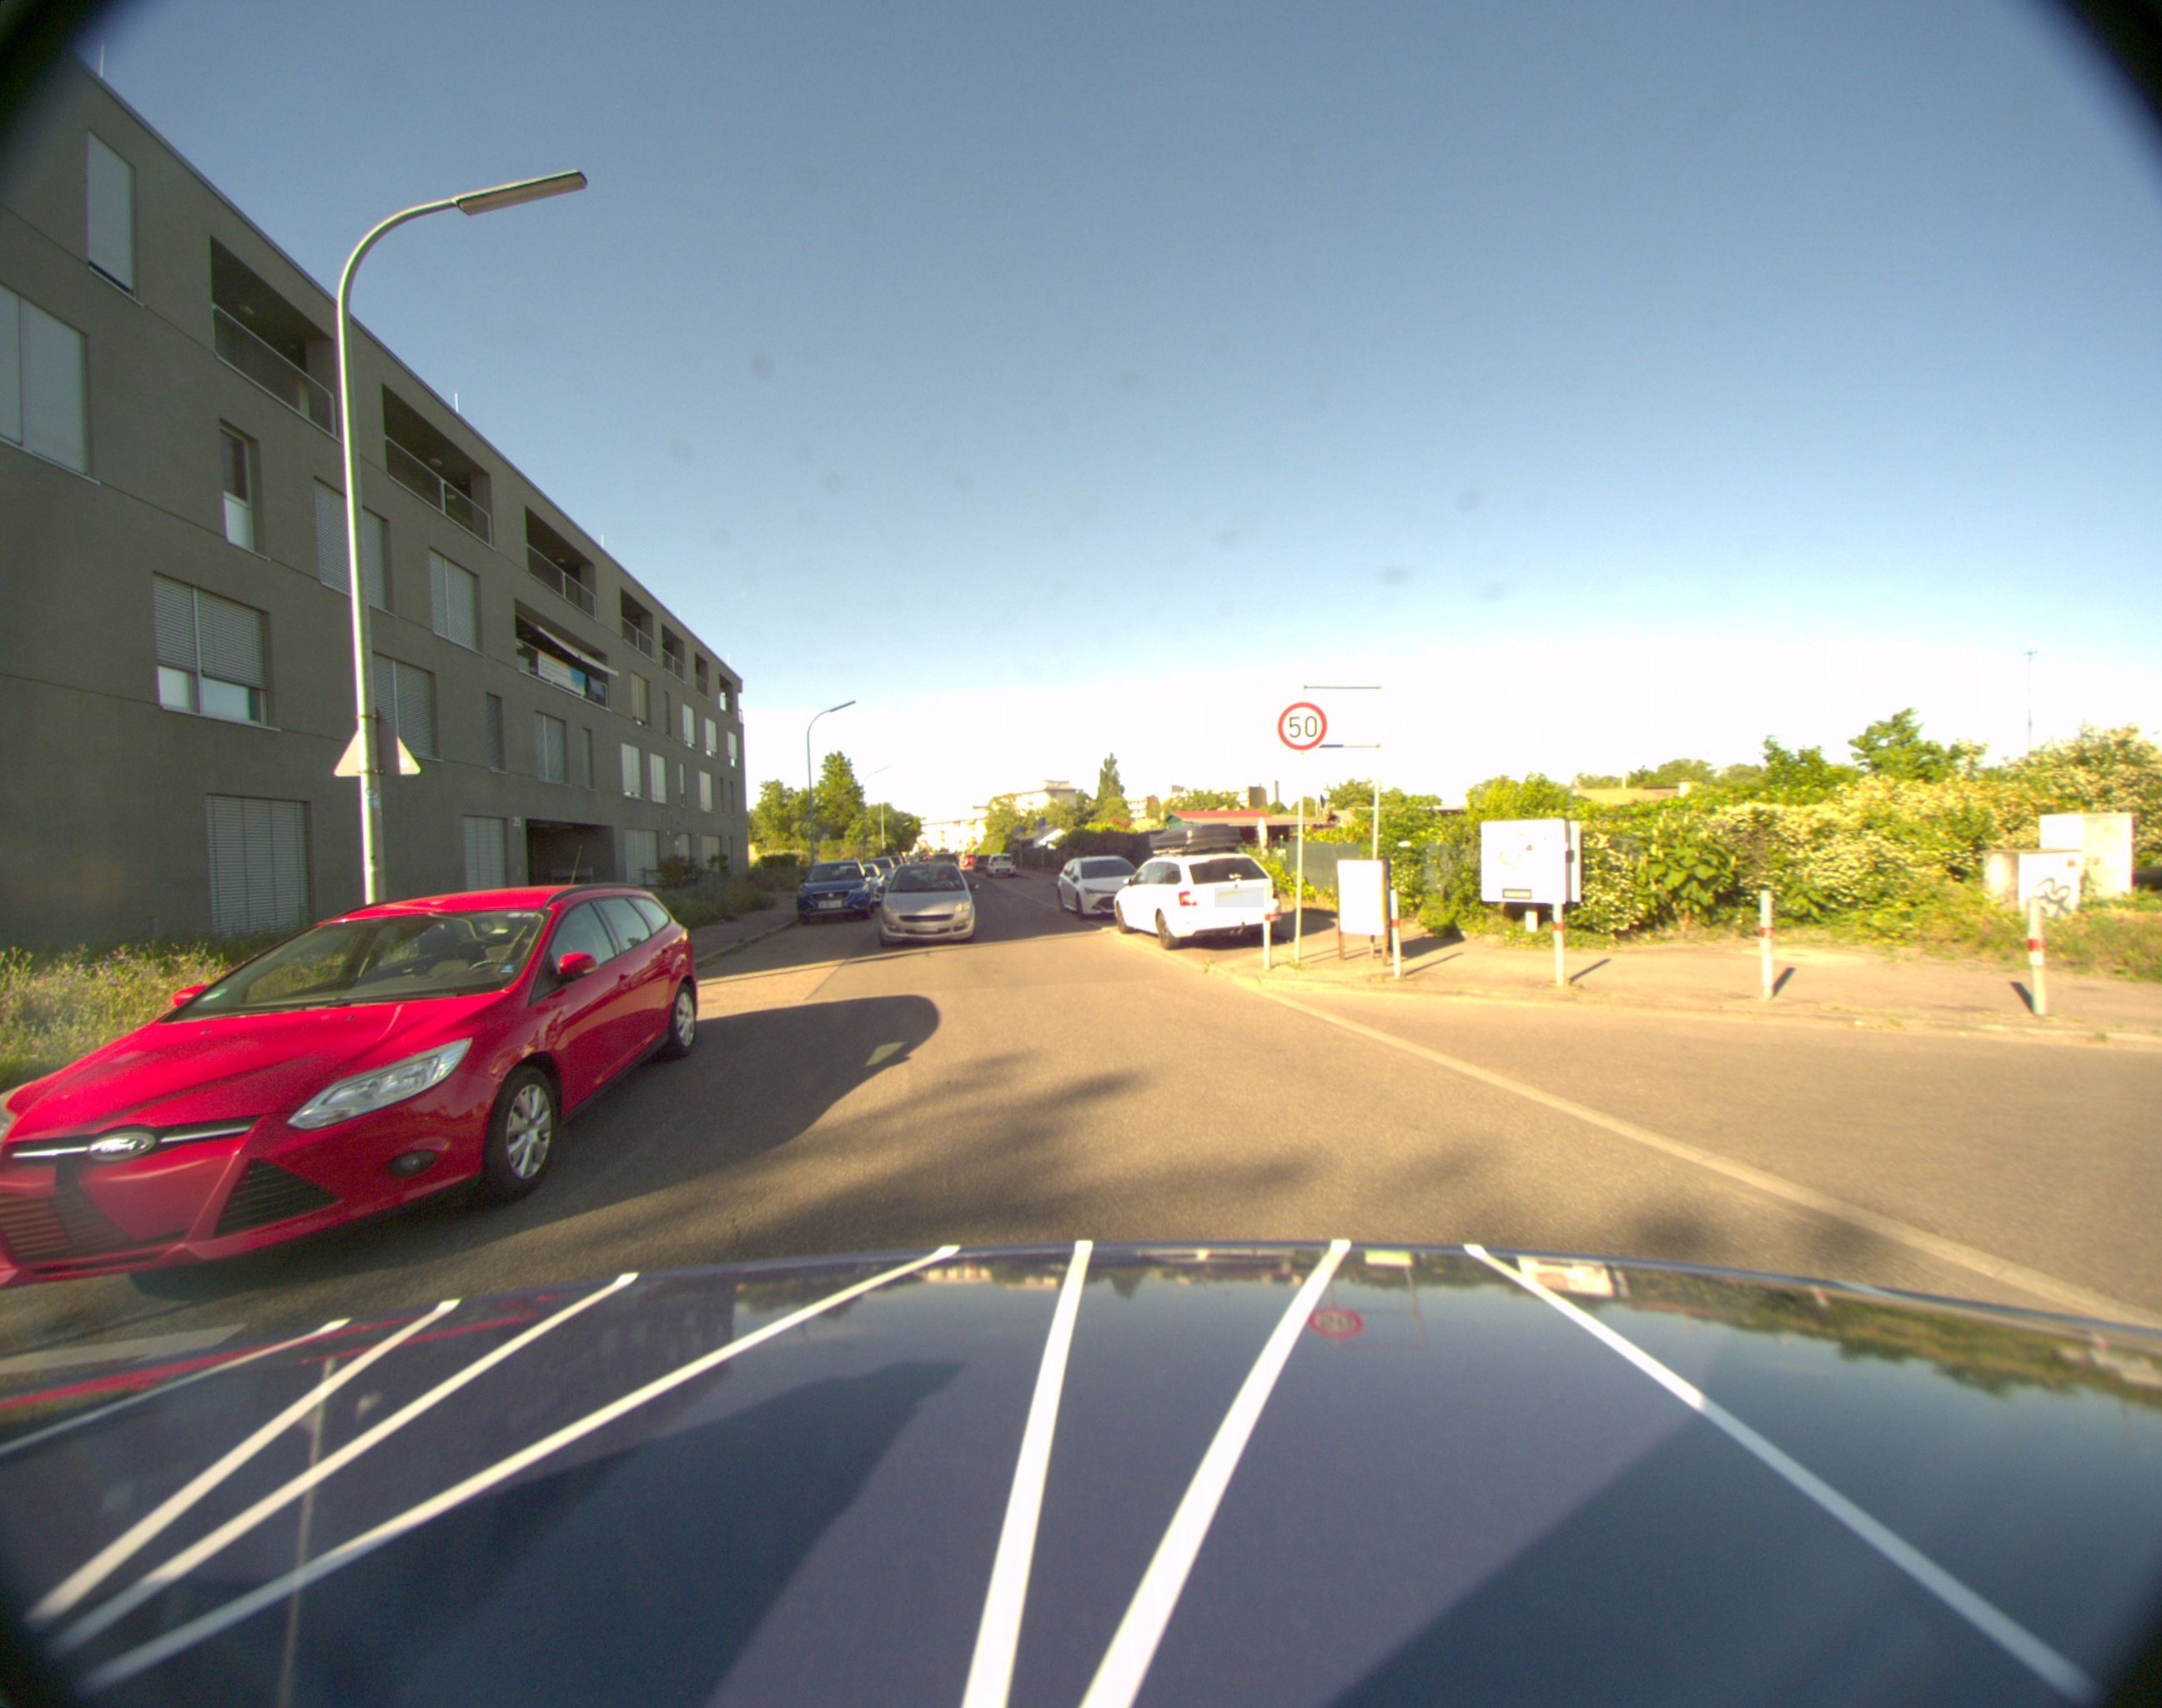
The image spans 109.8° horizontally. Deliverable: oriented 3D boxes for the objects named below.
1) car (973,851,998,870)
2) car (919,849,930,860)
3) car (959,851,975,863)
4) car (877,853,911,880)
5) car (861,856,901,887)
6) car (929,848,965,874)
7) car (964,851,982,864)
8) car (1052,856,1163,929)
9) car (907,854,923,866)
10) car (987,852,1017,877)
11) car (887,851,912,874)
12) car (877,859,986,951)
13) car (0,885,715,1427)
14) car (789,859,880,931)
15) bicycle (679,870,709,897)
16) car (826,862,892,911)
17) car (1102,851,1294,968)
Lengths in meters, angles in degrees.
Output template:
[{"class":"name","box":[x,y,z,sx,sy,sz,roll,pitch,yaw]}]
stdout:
[{"class":"car","box":[-8.277,0.533,65.555,1.701,1.415,4.512,-4,1,-11]},{"class":"car","box":[-31.135,0.081,151.246,2.000,2.002,3.996,-2,1,-11]},{"class":"car","box":[-13.939,0.358,93.143,1.701,1.361,3.906,-2,1,-11]},{"class":"car","box":[-12.396,0.812,50.574,1.750,1.558,4.798,-4,1,-9]},{"class":"car","box":[-10.893,0.910,41.672,1.712,1.517,4.150,-3,1,-10]},{"class":"car","box":[-9.605,0.479,54.097,1.950,1.717,4.831,-2,0,-17]},{"class":"car","box":[-11.878,0.372,83.401,1.701,1.421,4.381,-2,1,-11]},{"class":"car","box":[0.519,0.852,19.190,1.753,1.438,4.536,-5,1,-11]},{"class":"car","box":[-21.920,0.783,100.385,1.875,1.517,4.151,-2,1,-10]},{"class":"car","box":[-5.023,0.624,48.210,1.533,1.479,3.398,-3,1,-11]},{"class":"car","box":[-14.450,0.644,60.732,1.712,1.696,4.344,-5,1,-12]},{"class":"car","box":[-3.042,0.869,14.822,1.681,1.440,3.994,-2,1,-16]},{"class":"car","box":[-3.849,1.082,4.614,1.825,1.491,4.447,-3,1,-12]},{"class":"car","box":[-6.698,1.021,21.102,1.823,1.590,4.622,-4,1,-12]},{"class":"bicycle","box":[-16.872,1.280,33.165,0.554,1.055,1.840,-3,1,-7]},{"class":"car","box":[-7.859,1.101,27.246,1.751,1.421,4.581,-4,1,-11]},{"class":"car","box":[1.754,0.784,13.030,1.701,1.505,4.512,-5,1,-11]}]
